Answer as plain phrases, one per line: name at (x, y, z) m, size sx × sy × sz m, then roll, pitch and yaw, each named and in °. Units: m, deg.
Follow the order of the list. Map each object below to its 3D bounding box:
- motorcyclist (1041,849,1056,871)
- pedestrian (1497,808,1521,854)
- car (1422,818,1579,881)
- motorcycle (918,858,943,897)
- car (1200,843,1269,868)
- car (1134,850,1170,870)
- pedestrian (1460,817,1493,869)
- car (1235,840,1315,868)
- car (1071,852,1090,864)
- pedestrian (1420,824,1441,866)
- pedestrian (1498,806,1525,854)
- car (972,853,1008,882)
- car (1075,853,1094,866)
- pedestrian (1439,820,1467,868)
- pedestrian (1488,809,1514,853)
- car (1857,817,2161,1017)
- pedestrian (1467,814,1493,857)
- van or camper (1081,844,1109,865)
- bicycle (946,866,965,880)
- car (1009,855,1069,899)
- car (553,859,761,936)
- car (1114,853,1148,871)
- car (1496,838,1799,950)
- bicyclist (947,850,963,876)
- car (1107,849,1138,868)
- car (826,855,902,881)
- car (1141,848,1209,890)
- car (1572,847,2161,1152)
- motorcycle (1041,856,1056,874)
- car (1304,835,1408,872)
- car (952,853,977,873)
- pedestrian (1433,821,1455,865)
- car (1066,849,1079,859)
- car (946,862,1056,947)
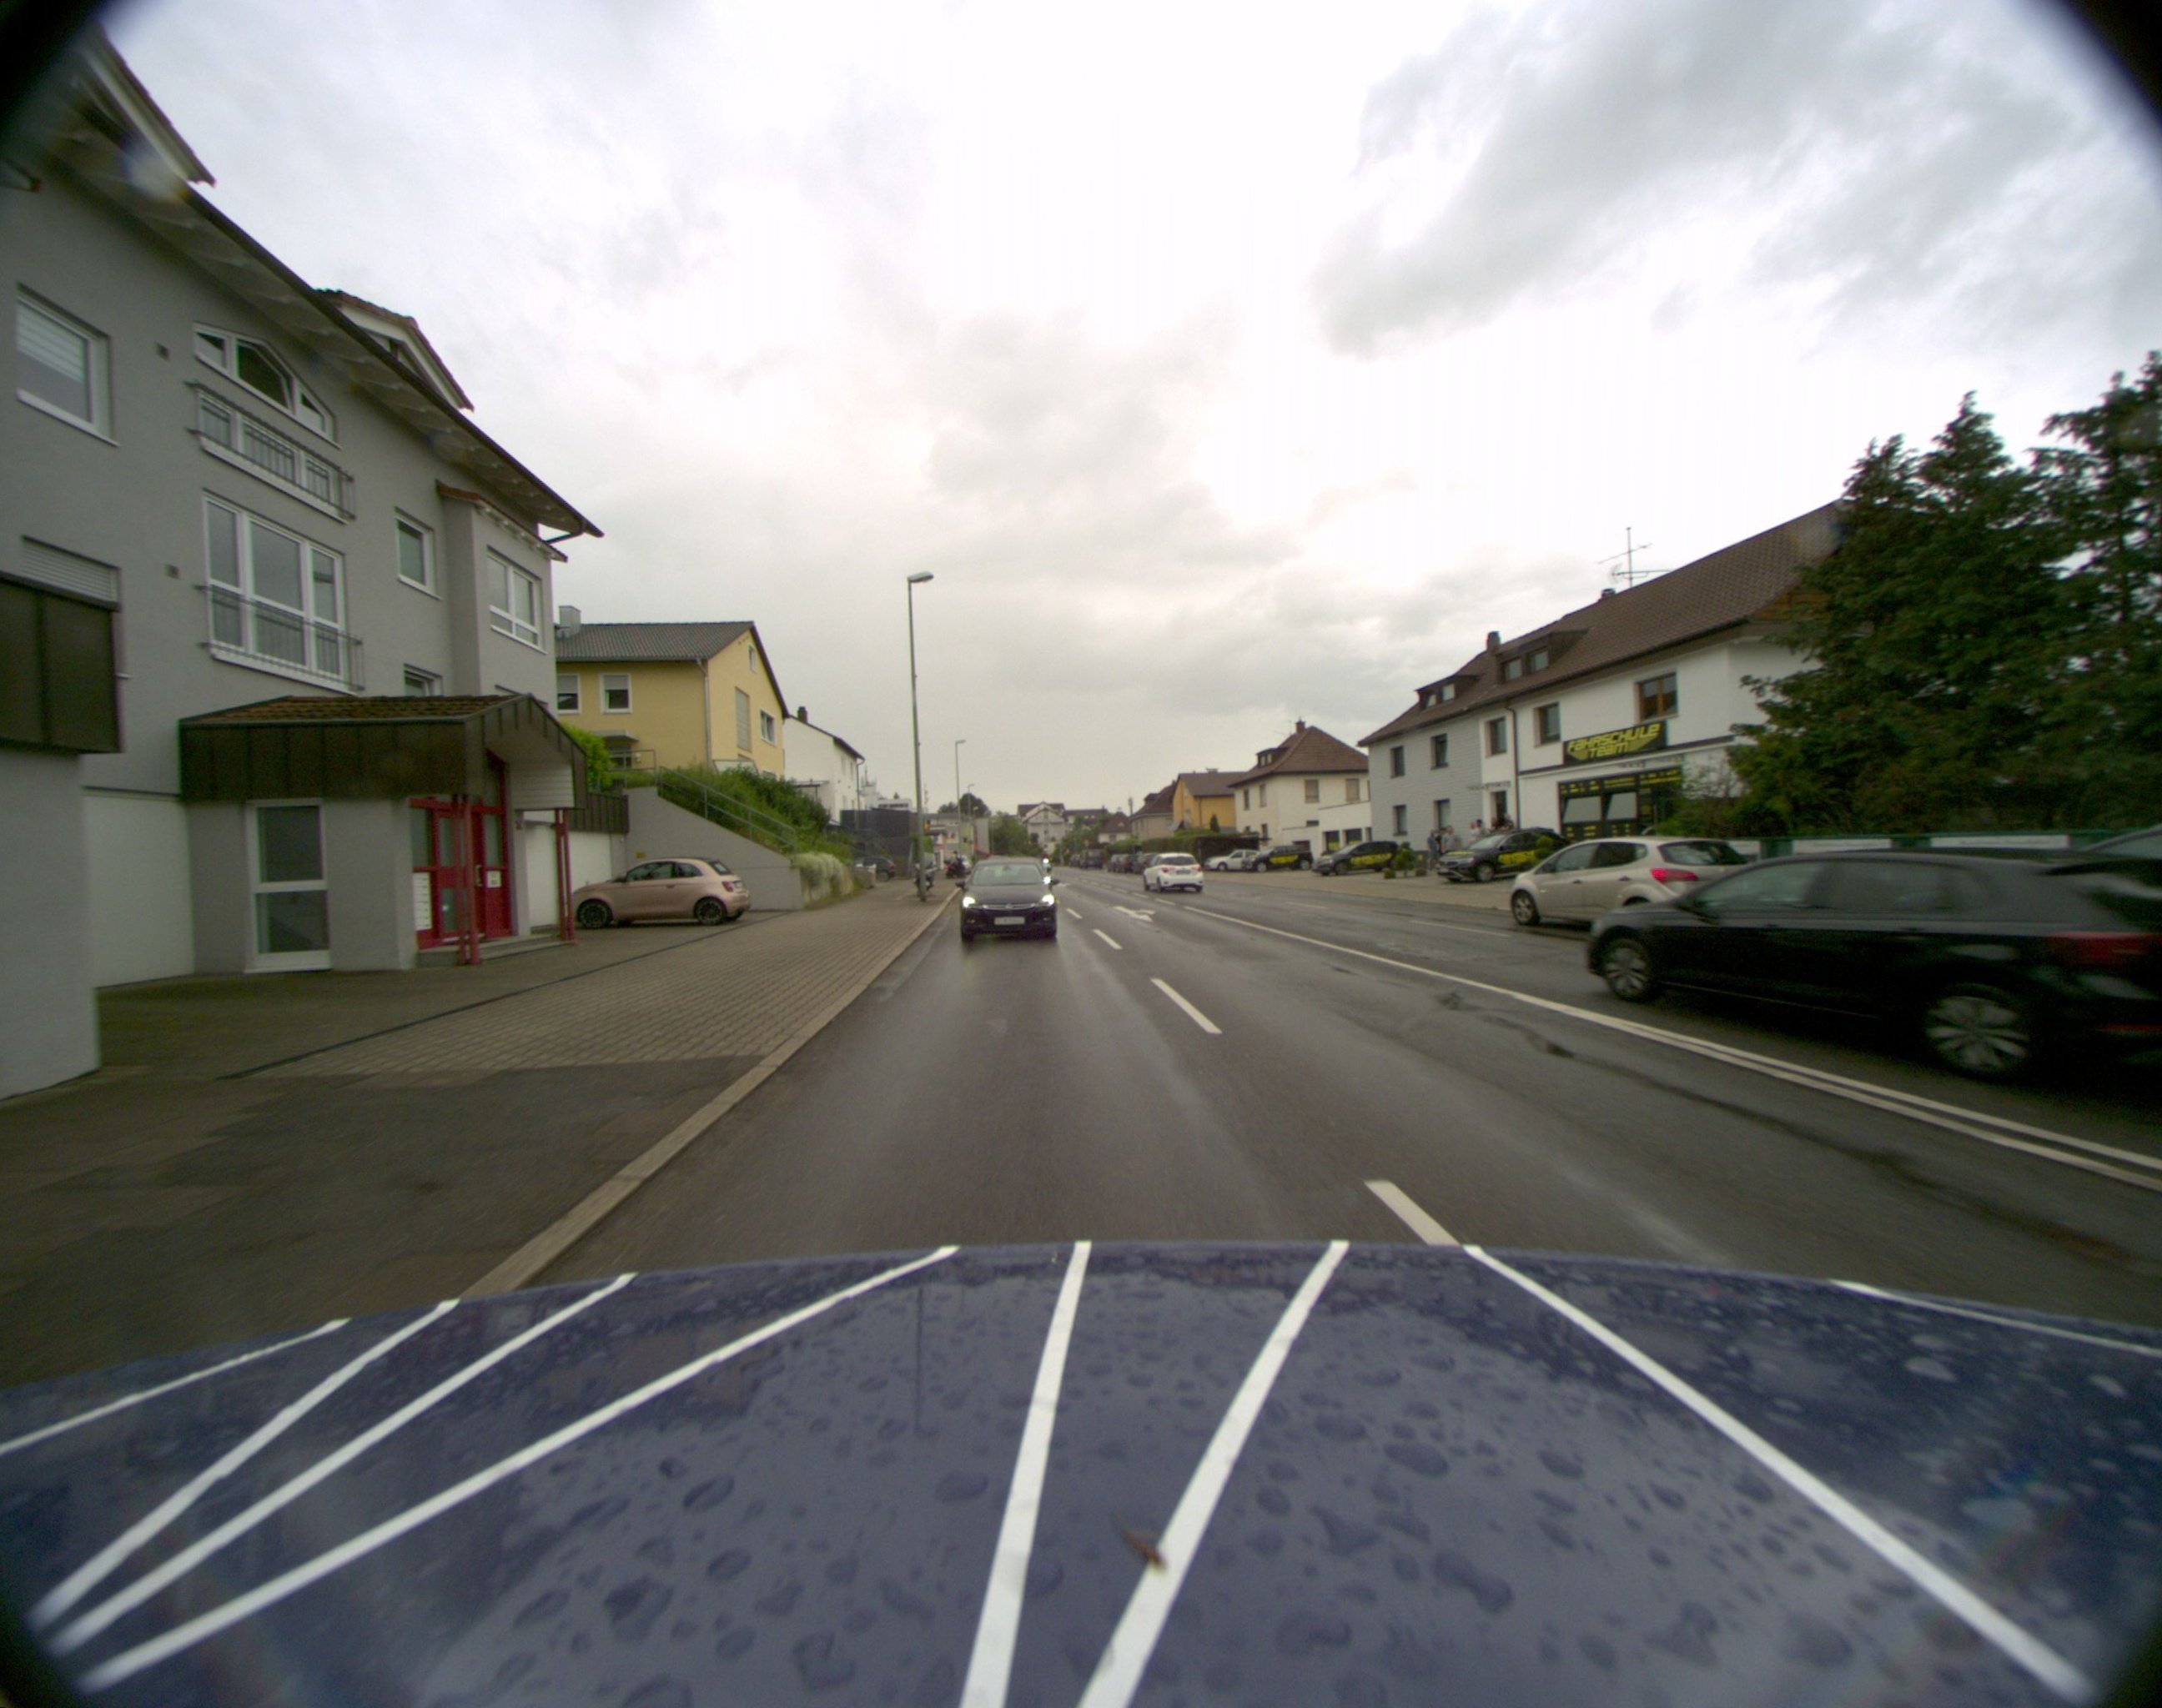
motorcyclist at (-2.184, 0.397, 51.285) m, size 0.953 × 1.413 × 0.992 m, roll -1°, pitch 1°, yaw -4°
pedestrian at (16.123, -0.857, 28.631) m, size 0.517 × 1.661 × 0.512 m, roll -5°, pitch 1°, yaw 0°
car at (13.584, -0.128, 24.737) m, size 3.998 × 1.555 × 1.872 m, roll -6°, pitch 0°, yaw -5°
motorcycle at (-5.444, 0.828, 27.616) m, size 0.694 × 1.317 × 2.477 m, roll -1°, pitch 0°, yaw -7°
car at (10.211, 0.095, 50.684) m, size 4.114 × 1.475 × 1.838 m, roll 3°, pitch -1°, yaw -12°
car at (4.952, 0.402, 53.770) m, size 1.810 × 1.407 × 3.998 m, roll -1°, pitch 0°, yaw -5°
pedestrian at (14.885, -0.406, 28.604) m, size 0.734 × 1.856 × 0.686 m, roll -5°, pitch 1°, yaw 0°
car at (11.410, 0.009, 44.848) m, size 4.111 × 1.412 × 1.883 m, roll -3°, pitch 1°, yaw -5°
car at (-0.119, 0.527, 94.826) m, size 1.889 × 1.477 × 3.997 m, roll -1°, pitch 0°, yaw -7°
pedestrian at (15.062, -0.374, 32.769) m, size 0.447 × 1.743 × 0.689 m, roll -5°, pitch 1°, yaw -5°
pedestrian at (15.623, -0.866, 27.595) m, size 0.674 × 1.661 × 0.691 m, roll -4°, pitch 1°, yaw 24°
car at (-5.053, 0.796, 42.612) m, size 1.841 × 1.447 × 4.000 m, roll -1°, pitch -3°, yaw -6°
car at (0.347, 0.684, 90.392) m, size 1.889 × 1.477 × 3.998 m, roll -1°, pitch 0°, yaw -5°
pedestrian at (14.332, -0.397, 29.255) m, size 0.670 × 1.778 × 0.539 m, roll -5°, pitch 1°, yaw -2°
pedestrian at (16.408, -0.882, 29.657) m, size 0.575 × 1.661 × 0.551 m, roll -5°, pitch 1°, yaw -8°
car at (9.873, 0.503, 6.369) m, size 1.810 × 1.660 × 4.595 m, roll -1°, pitch 1°, yaw -5°
pedestrian at (15.951, -0.719, 30.386) m, size 0.584 × 1.661 × 0.575 m, roll -5°, pitch 1°, yaw -8°
van or camper at (1.453, 0.008, 79.185) m, size 2.191 × 2.002 × 5.130 m, roll -1°, pitch 1°, yaw -7°
bicycle at (-8.118, 1.198, 49.158) m, size 0.733 × 0.821 × 2.235 m, roll -1°, pitch 0°, yaw 4°
car at (-1.563, 0.804, 27.003) m, size 1.911 × 1.389 × 4.856 m, roll -1°, pitch -2°, yaw -5°
car at (-9.350, 0.913, 17.053) m, size 3.644 × 1.476 × 1.811 m, roll -2°, pitch 1°, yaw -10°
car at (3.895, 0.603, 59.629) m, size 1.810 × 1.407 × 3.997 m, roll -1°, pitch 0°, yaw -8°
car at (9.204, 0.538, 12.875) m, size 1.810 × 1.559 × 4.140 m, roll -1°, pitch 1°, yaw -5°
bicyclist at (-8.117, 0.571, 49.129) m, size 0.809 × 1.633 × 0.906 m, roll -1°, pitch 1°, yaw 3°
car at (3.487, 0.372, 64.755) m, size 1.810 × 1.505 × 3.997 m, roll -1°, pitch 0°, yaw -8°
car at (-12.183, 0.751, 42.819) m, size 4.001 × 1.395 × 1.672 m, roll -1°, pitch 0°, yaw -12°
car at (3.638, 0.537, 30.039) m, size 1.838 × 1.521 × 3.998 m, roll -1°, pitch 0°, yaw -5°
car at (6.058, 0.713, 5.857) m, size 1.717 × 1.494 × 3.998 m, roll -1°, pitch 1°, yaw -5°
motorcycle at (-2.177, 0.726, 51.205) m, size 0.944 × 1.101 × 2.405 m, roll -1°, pitch 1°, yaw -4°
car at (12.522, -0.035, 34.770) m, size 3.999 × 1.412 × 1.883 m, roll -4°, pitch 1°, yaw -5°
car at (-9.532, 0.712, 62.290) m, size 1.738 × 1.481 × 3.998 m, roll -1°, pitch 0°, yaw -5°
pedestrian at (14.982, -0.455, 31.376) m, size 0.652 × 1.776 × 0.648 m, roll -4°, pitch 0°, yaw 18°
car at (-1.517, -0.016, 134.731) m, size 1.999 × 1.565 × 3.997 m, roll -1°, pitch 1°, yaw -5°
car at (-1.431, 0.882, 15.064) m, size 1.841 × 1.390 × 3.999 m, roll -1°, pitch 0°, yaw -1°
